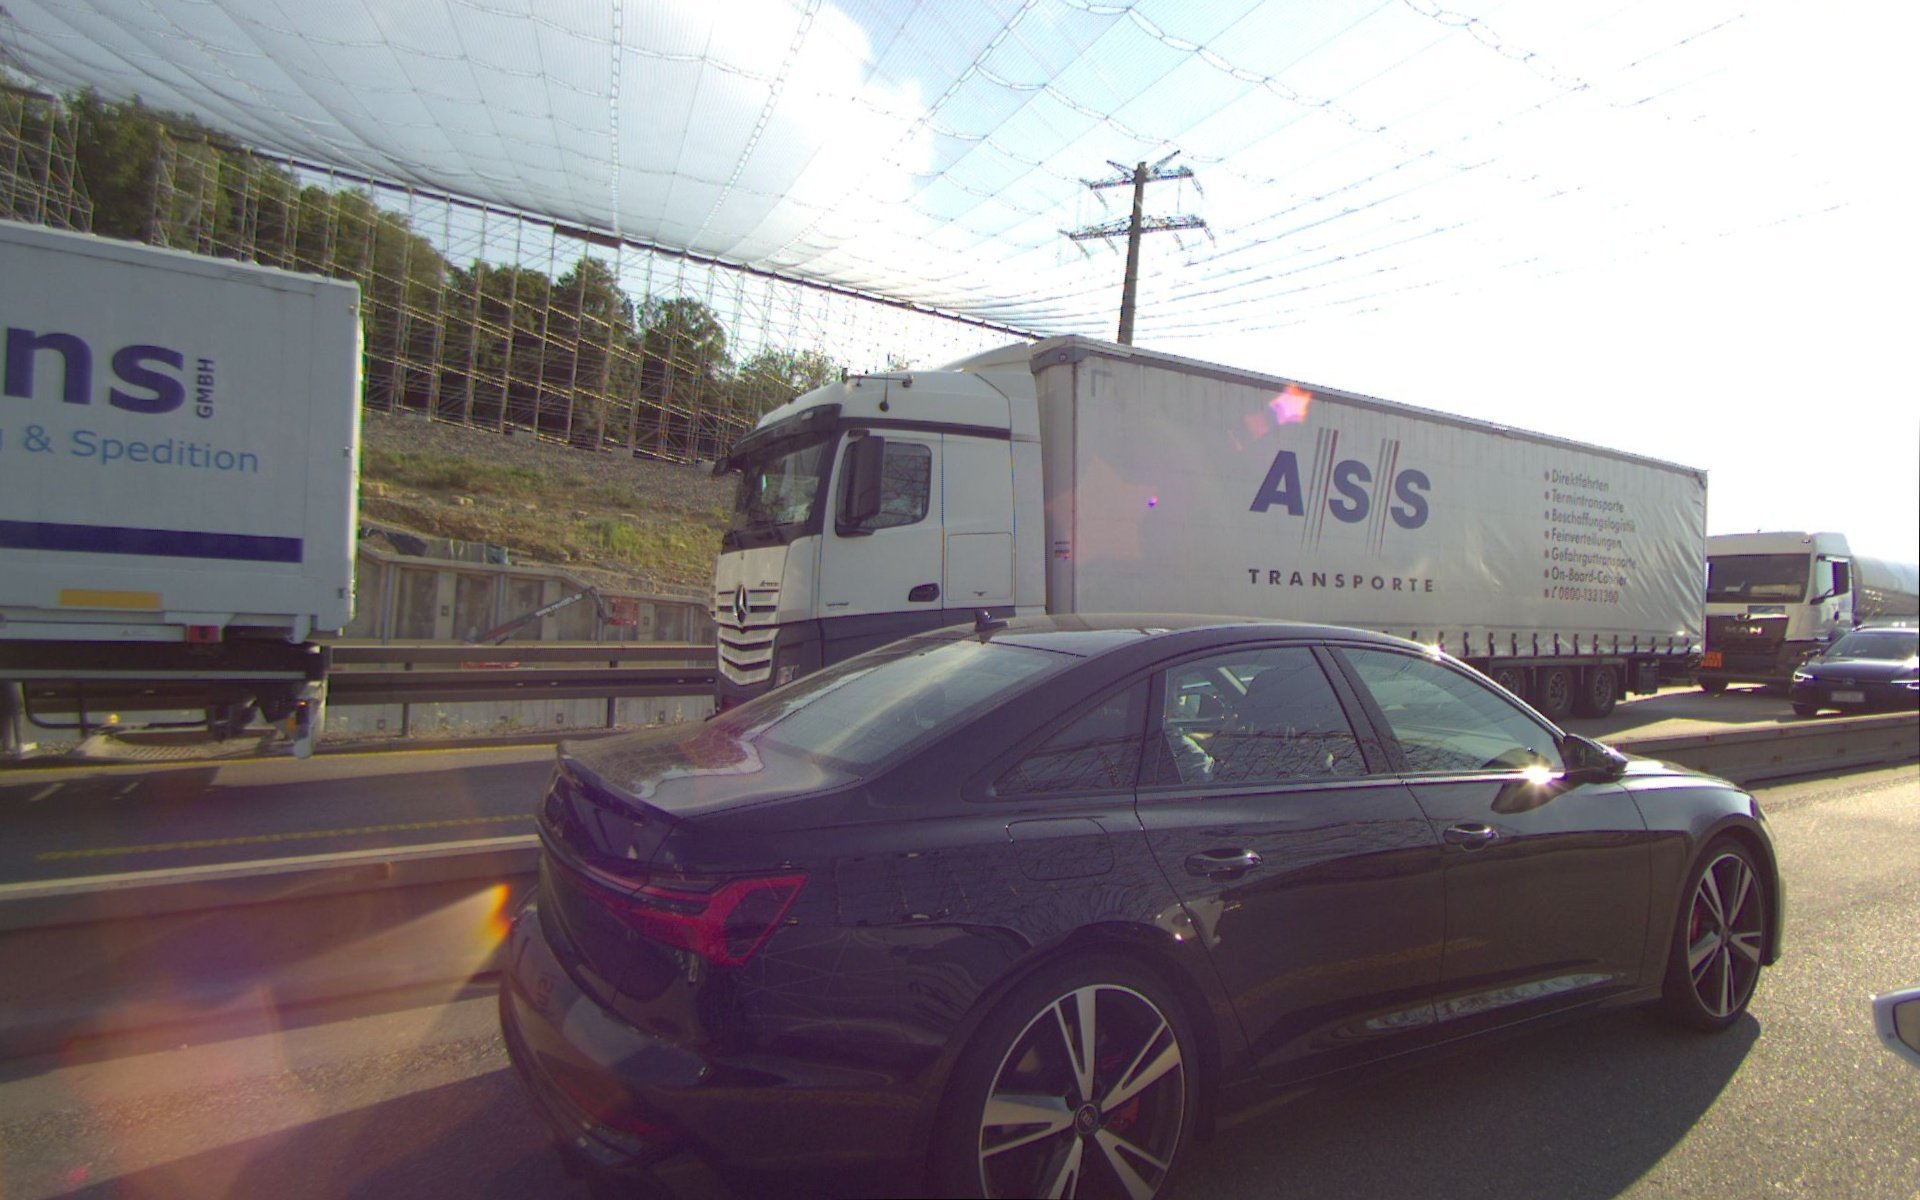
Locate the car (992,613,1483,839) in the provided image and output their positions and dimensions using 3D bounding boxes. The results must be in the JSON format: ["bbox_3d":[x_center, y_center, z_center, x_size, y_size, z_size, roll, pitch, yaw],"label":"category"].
[{"bbox_3d":[2.306,0.848,8.044,3.857,1.394,1.598,2,0,-32],"label":"car"}]

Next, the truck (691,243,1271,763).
[{"bbox_3d":[0.342,-0.711,10.456,5.555,4.099,2.460,2,0,-32],"label":"truck"}]

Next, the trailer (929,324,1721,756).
[{"bbox_3d":[6.199,-0.399,14.120,13.944,4.016,2.414,2,0,-33],"label":"trailer"}]

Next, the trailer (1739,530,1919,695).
[{"bbox_3d":[23.310,0.393,24.988,11.920,3.406,2.294,2,0,-32],"label":"trailer"}]

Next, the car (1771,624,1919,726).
[{"bbox_3d":[15.203,1.151,16.328,4.194,1.417,1.785,2,0,-30],"label":"car"}]

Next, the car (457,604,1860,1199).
[{"bbox_3d":[1.000,0.770,3.595,4.903,1.417,1.925,1,0,-31],"label":"car"}]

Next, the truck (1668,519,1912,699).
[{"bbox_3d":[17.861,0.224,21.544,5.556,3.415,2.400,2,0,-32],"label":"truck"}]

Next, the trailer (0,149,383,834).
[{"bbox_3d":[-10.349,-0.764,4.697,13.181,4.069,2.656,2,0,-31],"label":"trailer"}]
